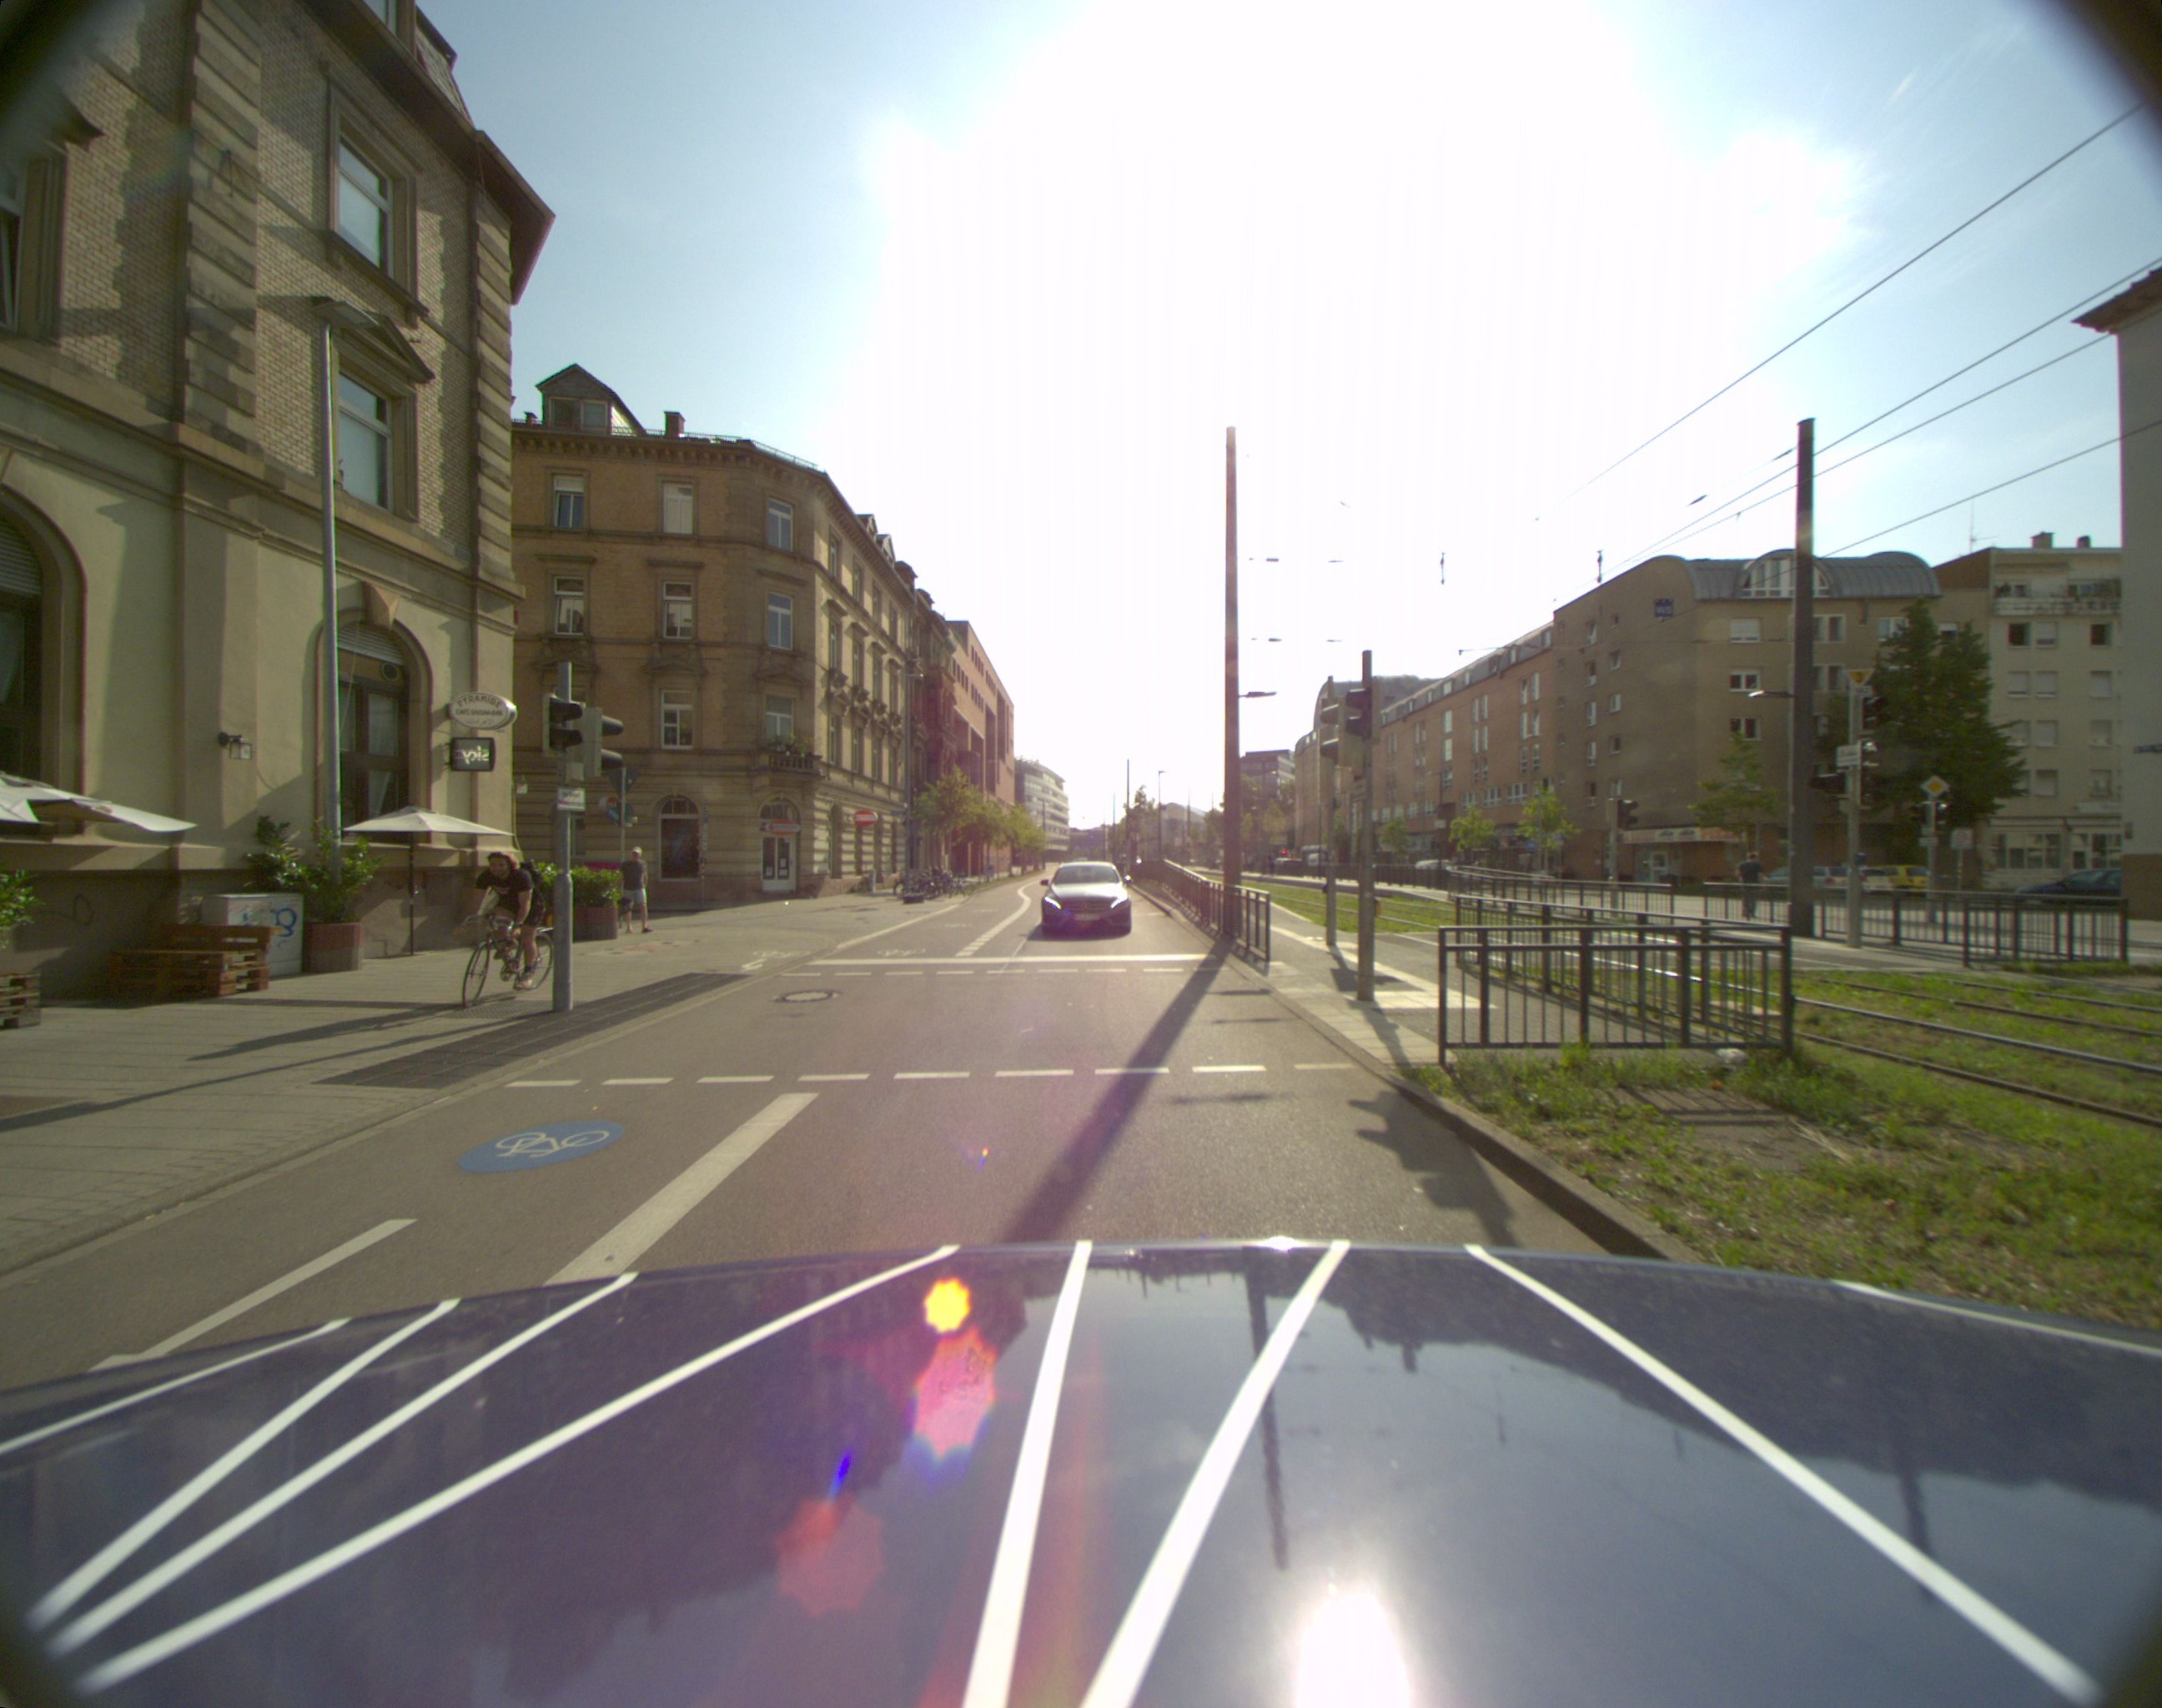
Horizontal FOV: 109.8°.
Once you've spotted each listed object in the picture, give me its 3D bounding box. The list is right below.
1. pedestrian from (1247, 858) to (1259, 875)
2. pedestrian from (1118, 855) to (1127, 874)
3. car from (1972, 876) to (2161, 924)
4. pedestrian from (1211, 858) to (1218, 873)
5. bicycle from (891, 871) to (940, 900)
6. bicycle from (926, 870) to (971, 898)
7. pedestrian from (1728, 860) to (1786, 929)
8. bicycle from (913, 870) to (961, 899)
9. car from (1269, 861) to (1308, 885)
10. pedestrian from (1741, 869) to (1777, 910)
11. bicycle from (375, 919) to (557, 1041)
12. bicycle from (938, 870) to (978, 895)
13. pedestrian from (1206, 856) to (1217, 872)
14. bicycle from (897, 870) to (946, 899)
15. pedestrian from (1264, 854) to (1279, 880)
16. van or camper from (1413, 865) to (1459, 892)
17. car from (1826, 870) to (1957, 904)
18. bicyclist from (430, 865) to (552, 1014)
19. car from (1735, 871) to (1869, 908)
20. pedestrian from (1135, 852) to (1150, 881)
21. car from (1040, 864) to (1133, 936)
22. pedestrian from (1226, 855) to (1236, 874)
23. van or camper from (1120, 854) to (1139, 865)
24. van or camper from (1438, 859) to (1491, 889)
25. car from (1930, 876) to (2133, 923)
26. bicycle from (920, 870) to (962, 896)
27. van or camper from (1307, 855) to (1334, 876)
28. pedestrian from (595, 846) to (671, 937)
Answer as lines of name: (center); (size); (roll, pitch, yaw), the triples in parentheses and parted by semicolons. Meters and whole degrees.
pedestrian: (14.989, 1.073, 66.342); (0.679, 1.521, 0.810); (0, 0, -30)
pedestrian: (3.911, 0.991, 71.849); (0.675, 1.747, 0.727); (-3, 1, 0)
car: (33.324, 1.493, 25.652); (1.678, 1.397, 3.998); (0, 0, -4)
pedestrian: (15.979, 1.423, 90.644); (0.652, 1.750, 0.698); (-3, 1, 2)
bicycle: (-6.426, 1.221, 29.568); (1.756, 1.081, 0.583); (2, 0, 4)
bicycle: (-5.754, 1.296, 32.891); (1.763, 1.081, 0.671); (3, 0, -22)
pedestrian: (18.946, 1.100, 21.293); (1.073, 1.856, 0.862); (0, 1, -26)
bicycle: (-5.928, 1.236, 31.382); (1.758, 1.081, 0.669); (3, 0, 6)
car: (17.939, 1.586, 65.863); (1.998, 2.002, 4.932); (0, 0, 0)
pedestrian: (26.474, 1.365, 29.693); (0.680, 1.574, 0.808); (0, 0, -2)
bicycle: (-6.270, 1.238, 7.881); (0.506, 0.947, 1.784); (2, 0, -3)
bicycle: (-5.761, 1.327, 35.560); (1.761, 1.081, 0.610); (3, 0, -8)
pedestrian: (14.565, 1.142, 85.036); (0.787, 1.736, 0.833); (1, 1, -36)
bicycle: (-6.335, 1.214, 30.167); (1.756, 1.081, 0.583); (2, 0, 4)
pedestrian: (14.048, 0.940, 56.002); (0.739, 1.861, 0.941); (0, 0, 39)
van or camper: (27.196, 1.843, 58.324); (1.997, 2.002, 4.002); (0, 0, 6)
car: (38.791, 1.552, 36.533); (1.999, 1.499, 4.000); (0, 0, -2)
bicyclist: (-6.270, 0.869, 8.126); (0.585, 1.473, 0.931); (2, 1, -3)
car: (33.503, 1.604, 35.520); (1.768, 1.590, 4.554); (0, 0, -3)
pedestrian: (4.330, 0.891, 53.779); (0.835, 2.002, 1.028); (-3, 1, -2)
car: (0.139, 0.977, 17.715); (1.907, 1.384, 4.236); (1, 0, 1)
pedestrian: (14.746, 1.066, 74.675); (0.807, 1.875, 0.555); (0, 0, 2)
van or camper: (9.778, 1.093, 153.850); (1.939, 2.198, 3.976); (0, 0, -34)
van or camper: (26.569, 1.354, 52.735); (1.934, 1.956, 4.002); (0, 0, 5)
car: (31.260, 1.444, 25.192); (1.585, 1.346, 3.998); (0, 0, -5)
bicycle: (-6.247, 1.299, 34.001); (1.761, 1.081, 0.657); (3, 0, -8)
van or camper: (32.182, 1.540, 102.195); (1.998, 2.785, 5.353); (0, 0, 1)
pedestrian: (-9.156, 0.752, 15.548); (0.862, 1.795, 0.995); (0, -2, 29)
